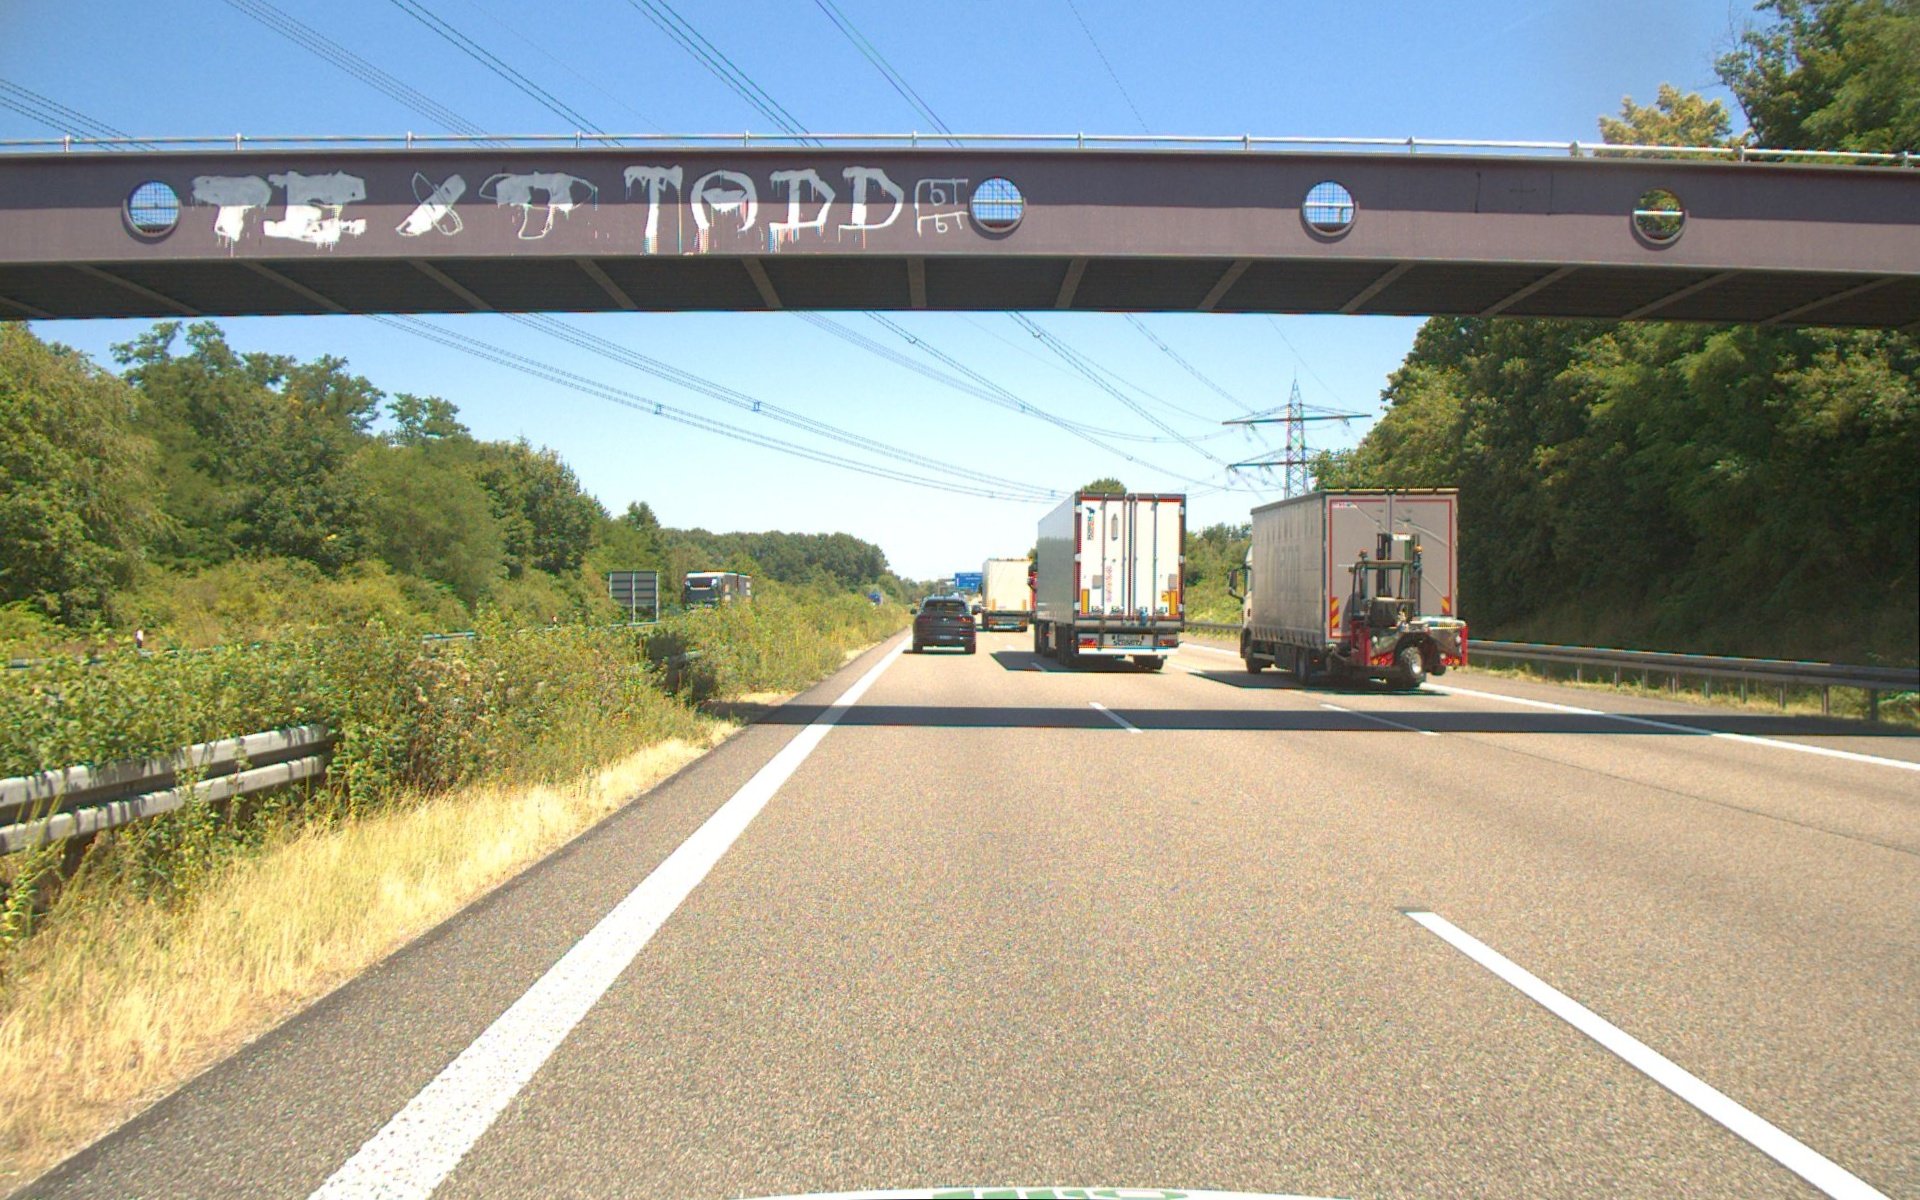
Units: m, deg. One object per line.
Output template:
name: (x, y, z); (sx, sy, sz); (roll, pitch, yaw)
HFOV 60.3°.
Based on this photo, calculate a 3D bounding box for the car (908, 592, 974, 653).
car: (-0.640, 0.670, 51.789); (1.953, 1.803, 3.998); (0, 0, -2)

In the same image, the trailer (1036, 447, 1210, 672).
trailer: (3.955, -0.873, 43.366); (3.024, 4.970, 12.254); (1, 0, -1)

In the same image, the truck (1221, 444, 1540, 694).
truck: (8.340, -0.505, 34.981); (3.498, 4.319, 11.648); (1, 0, -1)

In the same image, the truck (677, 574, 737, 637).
truck: (-17.938, 0.408, 118.011); (2.702, 4.194, 10.214); (-1, 0, 0)

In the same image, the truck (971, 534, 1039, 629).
truck: (2.565, -1.044, 97.520); (3.441, 5.257, 10.256); (1, 0, -1)

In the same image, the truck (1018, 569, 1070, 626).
truck: (7.062, -0.167, 140.855); (3.441, 4.571, 13.247); (1, 0, -1)

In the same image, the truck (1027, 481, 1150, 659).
truck: (3.800, -0.831, 50.429); (3.024, 4.970, 6.596); (1, 0, -1)
